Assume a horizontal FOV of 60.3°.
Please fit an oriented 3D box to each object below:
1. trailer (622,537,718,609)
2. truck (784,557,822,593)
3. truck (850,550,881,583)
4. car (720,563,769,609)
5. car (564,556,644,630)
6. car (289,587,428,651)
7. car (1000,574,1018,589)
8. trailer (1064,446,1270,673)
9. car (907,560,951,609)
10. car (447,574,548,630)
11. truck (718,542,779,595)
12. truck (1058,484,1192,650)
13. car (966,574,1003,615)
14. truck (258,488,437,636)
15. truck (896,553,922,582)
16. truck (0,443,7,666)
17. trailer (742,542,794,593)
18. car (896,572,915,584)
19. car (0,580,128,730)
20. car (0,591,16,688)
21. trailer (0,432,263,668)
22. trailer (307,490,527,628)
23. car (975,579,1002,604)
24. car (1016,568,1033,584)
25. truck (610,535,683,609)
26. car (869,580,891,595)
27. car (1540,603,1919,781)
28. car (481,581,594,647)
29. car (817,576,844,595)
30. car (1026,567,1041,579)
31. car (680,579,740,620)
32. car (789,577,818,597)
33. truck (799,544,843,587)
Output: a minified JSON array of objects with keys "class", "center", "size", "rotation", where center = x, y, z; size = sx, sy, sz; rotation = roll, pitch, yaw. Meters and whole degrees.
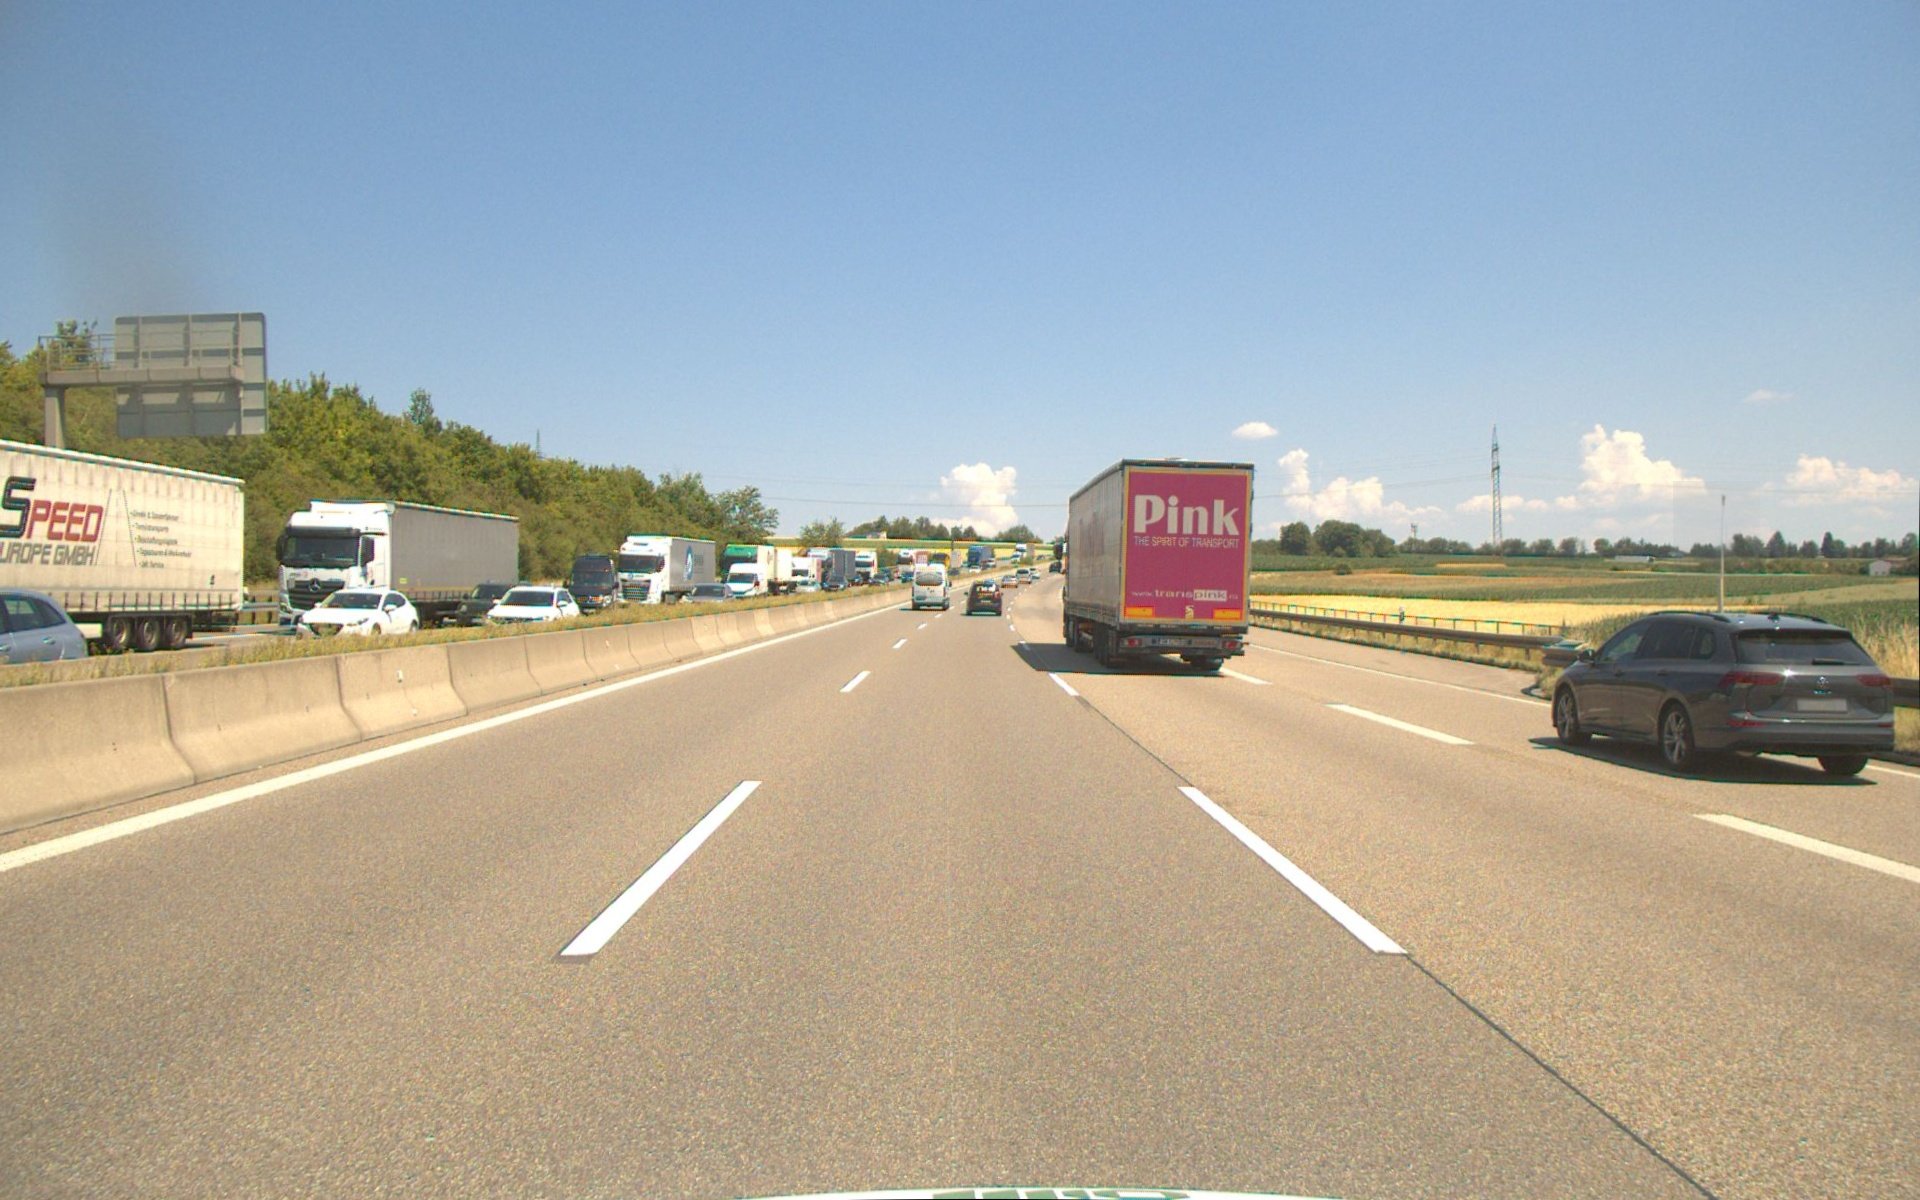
[{"class":"trailer","center":[-17.814,-1.705,102.792],"size":[2.842,4.157,14.451],"rotation":[0,1,2]},{"class":"truck","center":[-14.826,-2.396,156.547],"size":[2.485,3.263,7.593],"rotation":[1,1,3]},{"class":"truck","center":[-11.516,-4.095,201.839],"size":[2.840,3.943,6.182],"rotation":[1,2,4]},{"class":"car","center":[-13.833,-0.852,106.590],"size":[2.095,2.835,6.625],"rotation":[1,-1,1]},{"class":"car","center":[-15.435,-0.371,72.076],"size":[2.191,3.066,6.550],"rotation":[0,1,-2]},{"class":"car","center":[-14.799,0.465,40.929],"size":[1.842,1.500,4.406],"rotation":[0,0,0]},{"class":"car","center":[5.452,-2.041,182.385],"size":[1.952,1.612,4.001],"rotation":[0,1,2]},{"class":"trailer","center":[4.292,-0.863,37.756],"size":[2.859,4.189,13.858],"rotation":[1,1,0]},{"class":"car","center":[-1.703,-0.832,93.214],"size":[2.134,2.671,4.673],"rotation":[1,-1,2]},{"class":"car","center":[-15.141,0.040,54.405],"size":[1.953,1.745,4.791],"rotation":[0,0,0]},{"class":"truck","center":[-16.696,-2.530,131.285],"size":[2.783,3.966,11.253],"rotation":[-1,1,3]},{"class":"truck","center":[4.287,-0.876,44.333],"size":[2.857,4.078,6.511],"rotation":[1,1,0]},{"class":"car","center":[1.223,-0.329,84.348],"size":[1.810,1.893,4.206],"rotation":[0,3,-1]},{"class":"truck","center":[-18.891,-1.121,51.499],"size":[2.900,4.283,6.605],"rotation":[1,0,2]},{"class":"truck","center":[-7.551,-4.878,243.635],"size":[2.971,4.152,6.320],"rotation":[1,2,6]},{"class":"truck","center":[-18.989,-0.823,27.551],"size":[2.699,4.113,6.098],"rotation":[1,0,-1]},{"class":"trailer","center":[-16.237,-2.801,140.387],"size":[2.859,4.142,8.235],"rotation":[-1,1,4]},{"class":"car","center":[-7.094,-2.855,214.574],"size":[1.952,1.554,4.775],"rotation":[1,1,3]},{"class":"car","center":[-11.218,0.580,18.083],"size":[1.953,1.606,4.594],"rotation":[0,0,-1]},{"class":"car","center":[-15.470,0.606,23.042],"size":[1.838,1.459,4.924],"rotation":[1,0,-1]},{"class":"trailer","center":[-19.079,-0.993,34.968],"size":[2.753,4.353,13.869],"rotation":[1,1,0]},{"class":"trailer","center":[-18.837,-1.312,58.813],"size":[2.920,4.280,14.194],"rotation":[1,0,1]},{"class":"car","center":[2.090,-0.620,122.709],"size":[1.952,1.780,4.000],"rotation":[1,-1,0]},{"class":"car","center":[8.046,-2.997,206.084],"size":[1.952,1.937,4.000],"rotation":[0,0,1]},{"class":"truck","center":[-18.058,-1.631,95.688],"size":[2.794,4.107,6.606],"rotation":[0,1,2]},{"class":"car","center":[-8.819,-1.416,182.660],"size":[1.952,1.572,5.497],"rotation":[0,1,2]},{"class":"car","center":[7.445,0.805,16.396],"size":[1.725,1.497,4.535],"rotation":[1,-1,-1]},{"class":"car","center":[-11.298,0.379,44.528],"size":[1.953,1.672,4.405],"rotation":[0,0,-1]},{"class":"car","center":[-11.766,-1.308,150.565],"size":[1.823,1.670,5.114],"rotation":[0,-1,2]},{"class":"car","center":[10.536,-3.866,238.325],"size":[1.951,1.578,4.004],"rotation":[2,3,5]},{"class":"car","center":[-10.994,-0.036,72.952],"size":[1.892,1.718,4.796],"rotation":[0,1,0]},{"class":"car","center":[-12.745,-1.068,134.981],"size":[1.715,1.486,4.859],"rotation":[1,-1,1]},{"class":"truck","center":[-14.206,-3.563,169.829],"size":[2.938,4.307,10.741],"rotation":[0,1,4]}]
